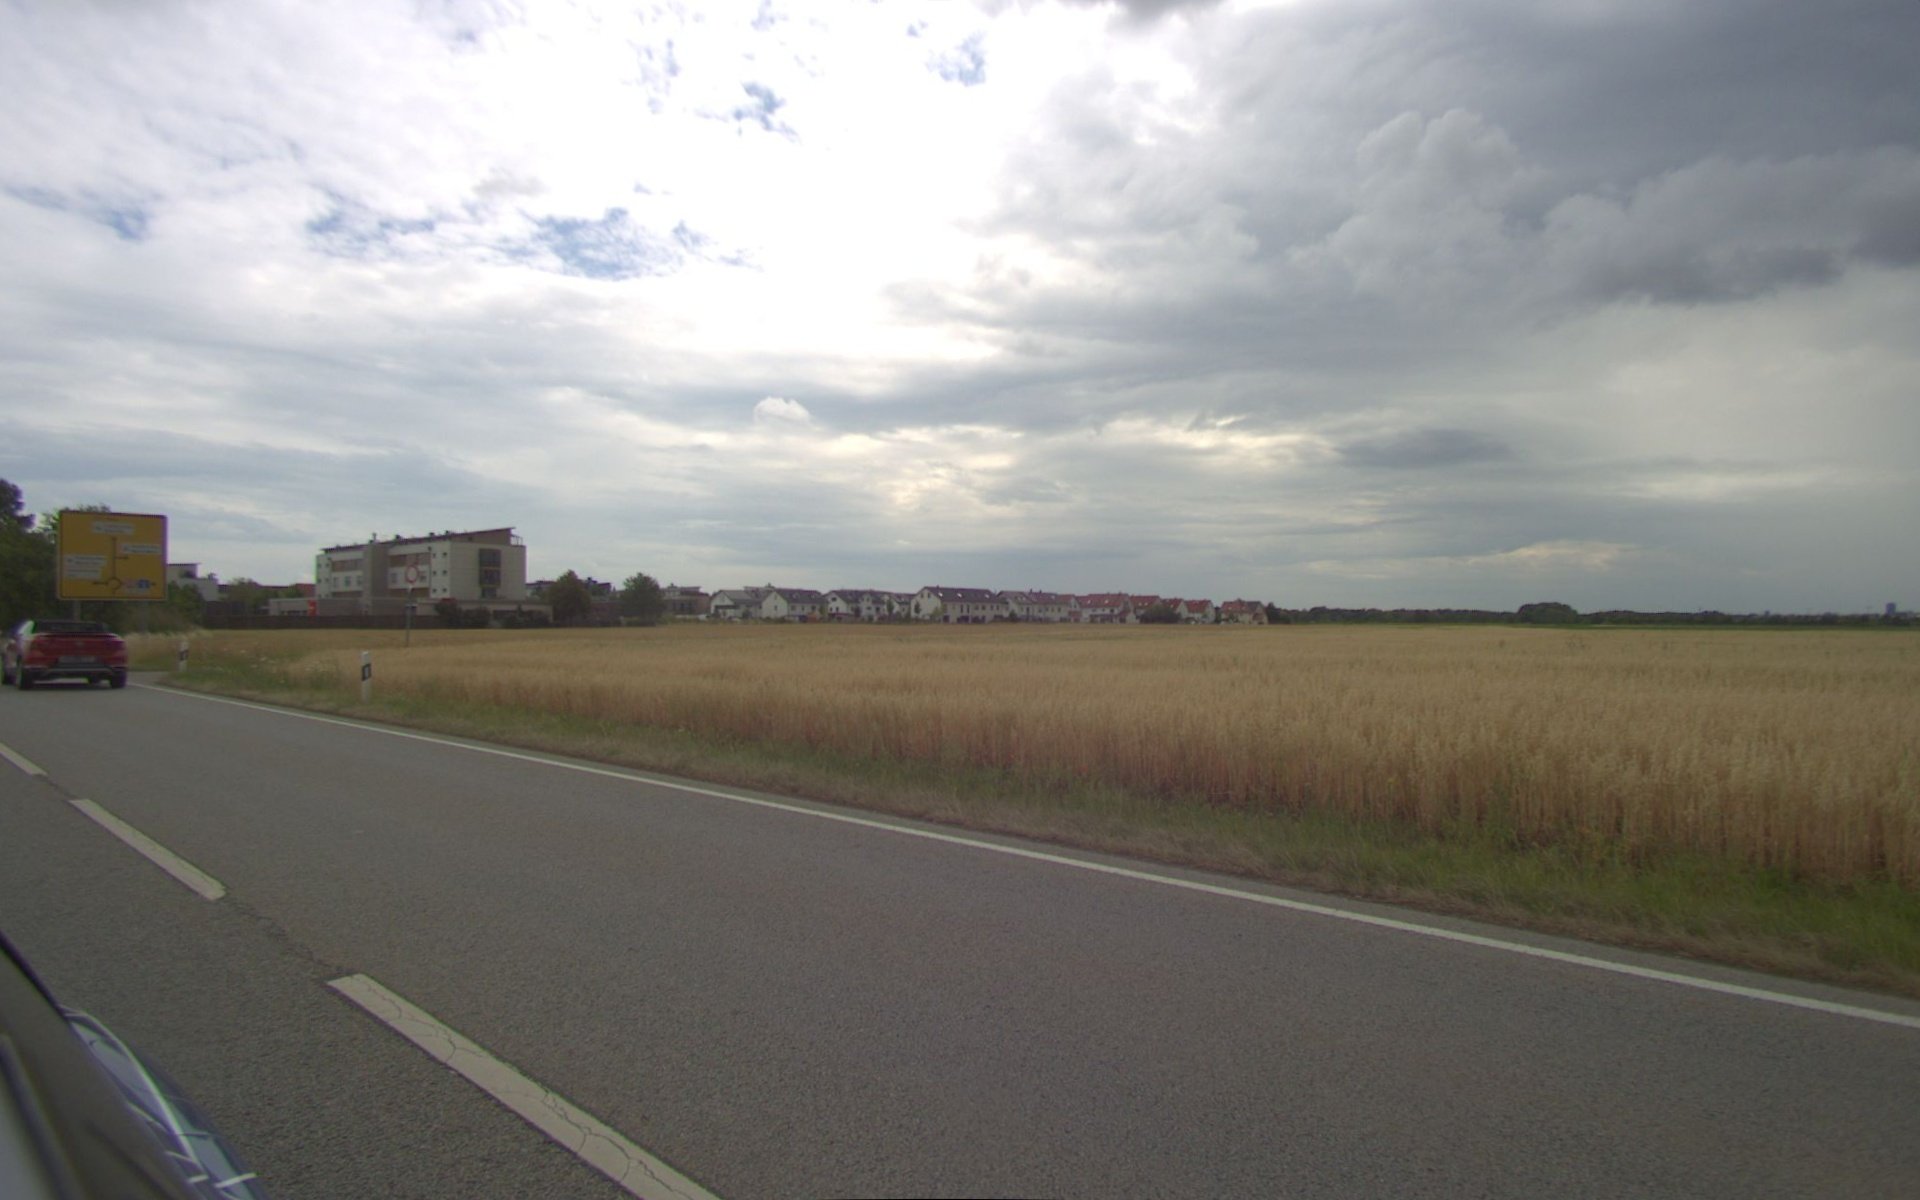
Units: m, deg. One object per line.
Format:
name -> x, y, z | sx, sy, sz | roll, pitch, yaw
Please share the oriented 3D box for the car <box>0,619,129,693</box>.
car -> -20.079, 1.192, 22.515 | 4.606, 1.500, 1.694 | -1, -2, 41
